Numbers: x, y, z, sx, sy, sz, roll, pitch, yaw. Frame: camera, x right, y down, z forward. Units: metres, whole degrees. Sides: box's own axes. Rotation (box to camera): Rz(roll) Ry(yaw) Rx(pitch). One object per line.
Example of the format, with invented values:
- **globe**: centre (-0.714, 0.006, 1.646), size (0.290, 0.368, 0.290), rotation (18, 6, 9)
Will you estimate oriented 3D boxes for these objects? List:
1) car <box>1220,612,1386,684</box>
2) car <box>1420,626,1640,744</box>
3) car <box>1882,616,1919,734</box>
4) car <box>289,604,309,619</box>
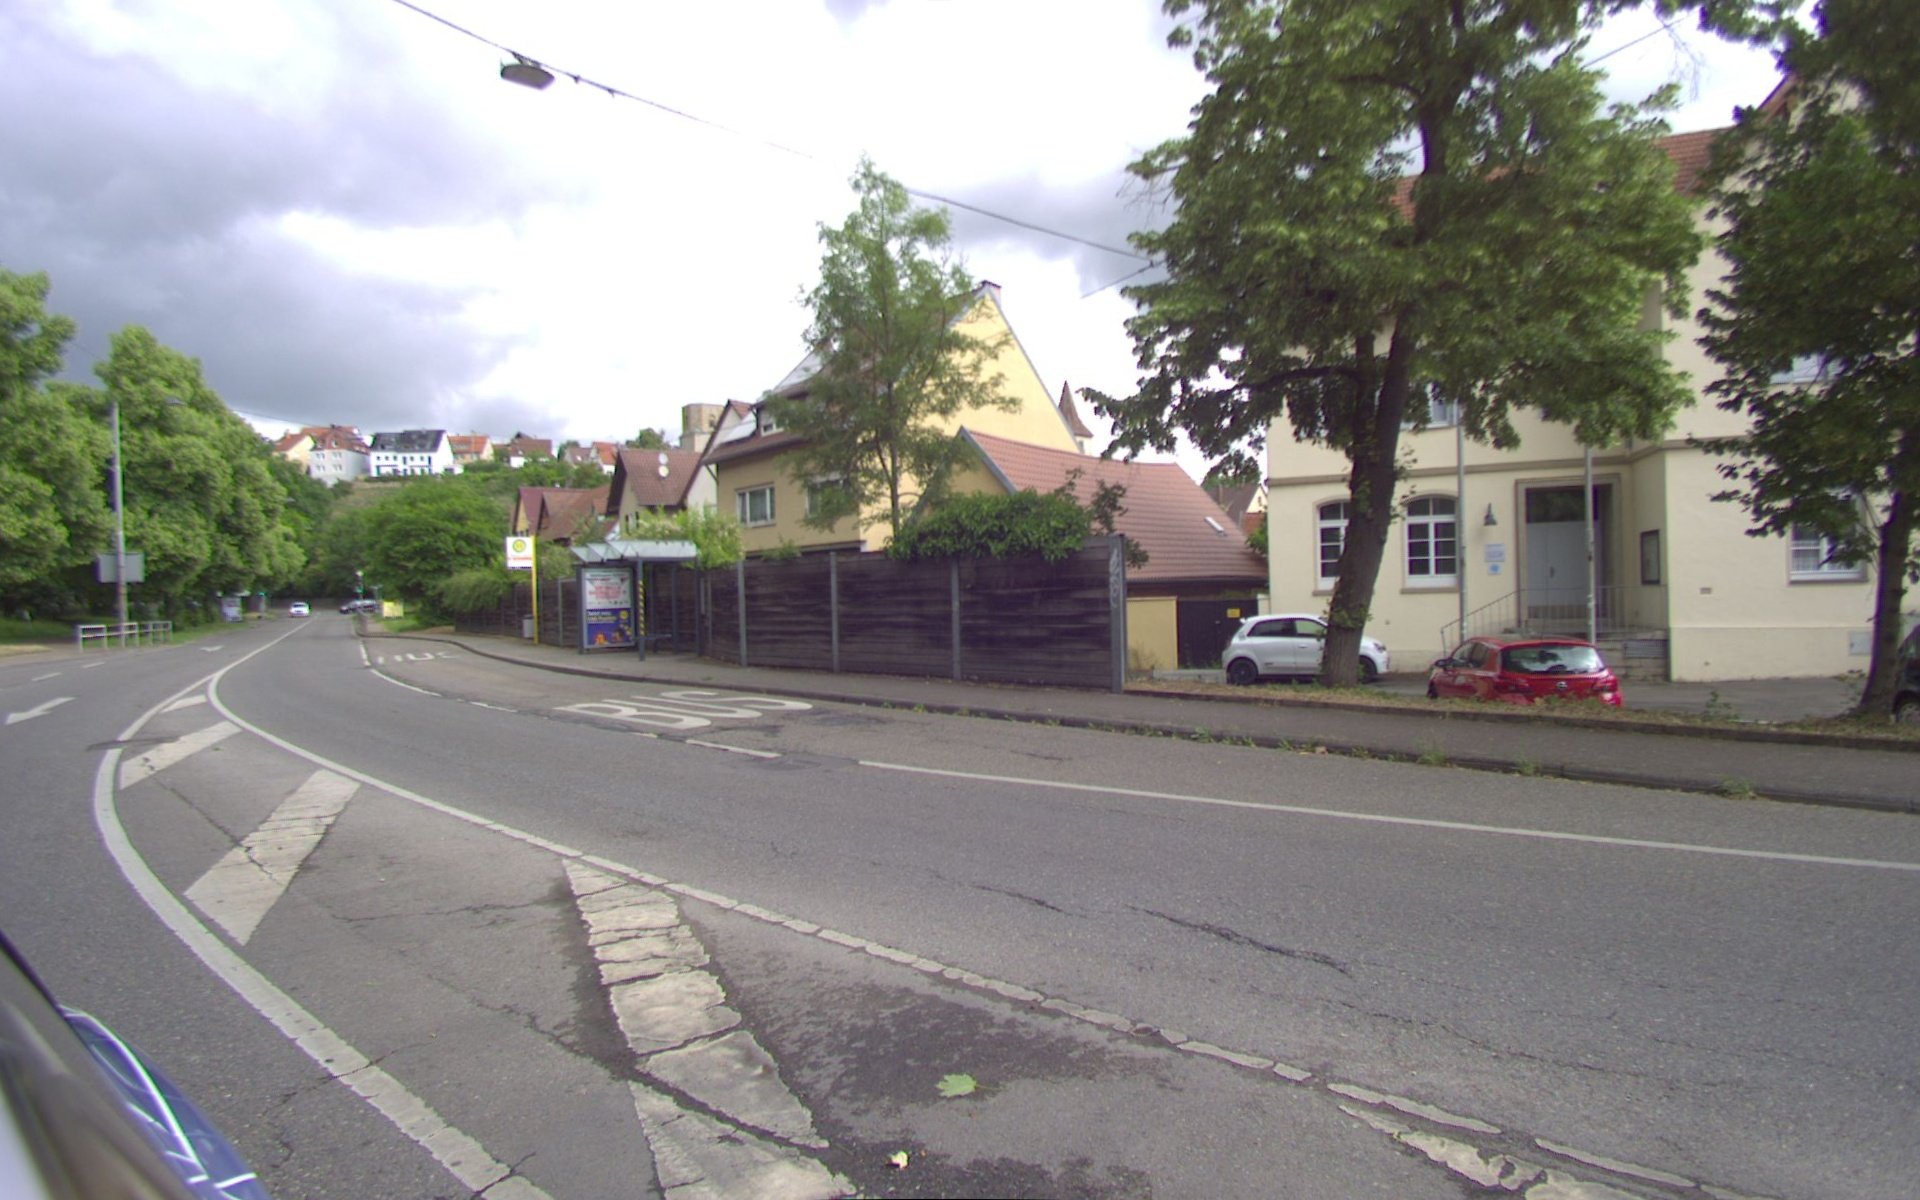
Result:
- **car**: centre (7.718, 1.052, 22.893), size (3.411, 1.490, 1.600), rotation (-1, 0, 21)
- **car**: centre (8.166, 1.143, 14.880), size (1.644, 1.393, 3.708), rotation (-1, 0, 10)
- **car**: centre (12.632, 0.931, 11.312), size (1.626, 1.450, 3.567), rotation (-1, 0, 7)
- **car**: centre (-71.089, 1.220, 108.857), size (1.735, 1.536, 3.693), rotation (-1, 0, -33)
